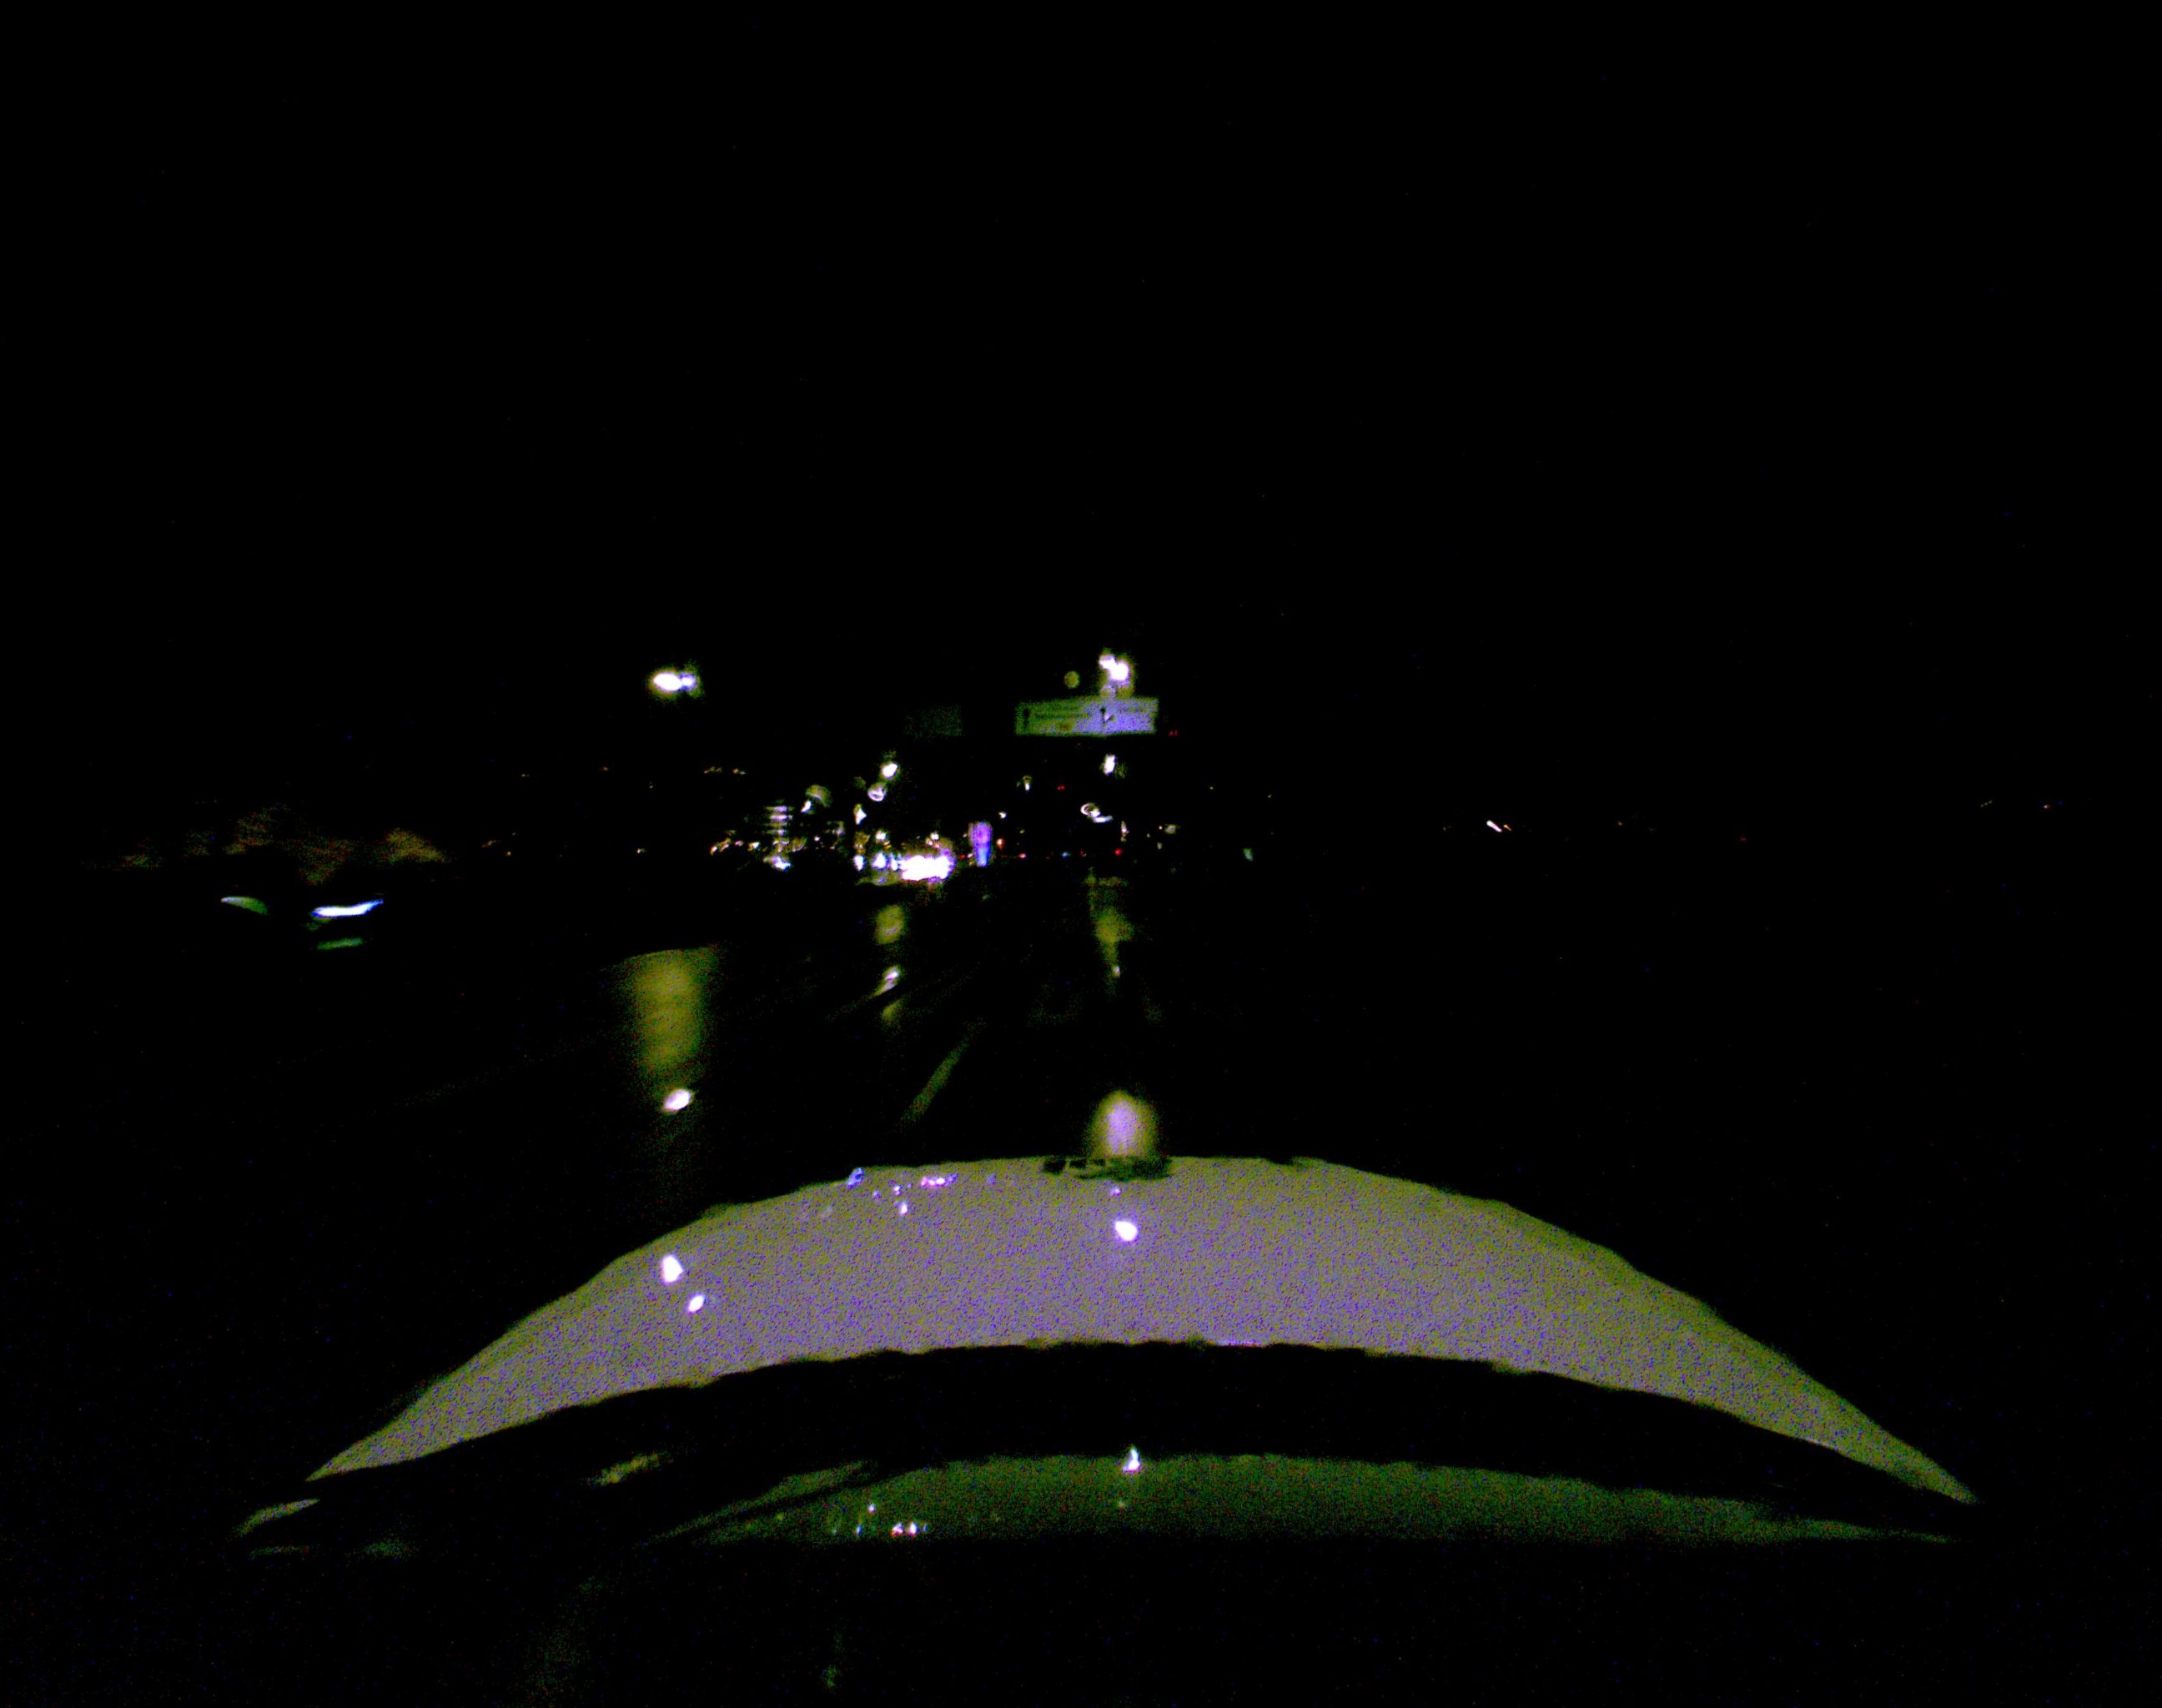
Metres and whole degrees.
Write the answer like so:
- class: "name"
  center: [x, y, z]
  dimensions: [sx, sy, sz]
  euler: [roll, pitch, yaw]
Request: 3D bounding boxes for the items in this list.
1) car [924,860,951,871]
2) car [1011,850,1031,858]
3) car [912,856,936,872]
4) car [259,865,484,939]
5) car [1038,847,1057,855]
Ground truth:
- class: "car"
  center: [-19.391, 1.556, 110.217]
  dimensions: [1.845, 1.464, 3.952]
  euler: [-1, 1, -41]
- class: "car"
  center: [-12.407, -0.084, 168.330]
  dimensions: [3.981, 1.616, 1.833]
  euler: [0, 0, -6]
- class: "car"
  center: [-17.968, 1.172, 93.425]
  dimensions: [1.822, 1.713, 4.442]
  euler: [0, 0, 1]
- class: "car"
  center: [-18.895, 1.194, 22.044]
  dimensions: [2.017, 1.684, 4.549]
  euler: [0, 0, 1]
- class: "car"
  center: [-6.914, -0.577, 167.879]
  dimensions: [3.941, 1.578, 1.736]
  euler: [0, 0, -2]
